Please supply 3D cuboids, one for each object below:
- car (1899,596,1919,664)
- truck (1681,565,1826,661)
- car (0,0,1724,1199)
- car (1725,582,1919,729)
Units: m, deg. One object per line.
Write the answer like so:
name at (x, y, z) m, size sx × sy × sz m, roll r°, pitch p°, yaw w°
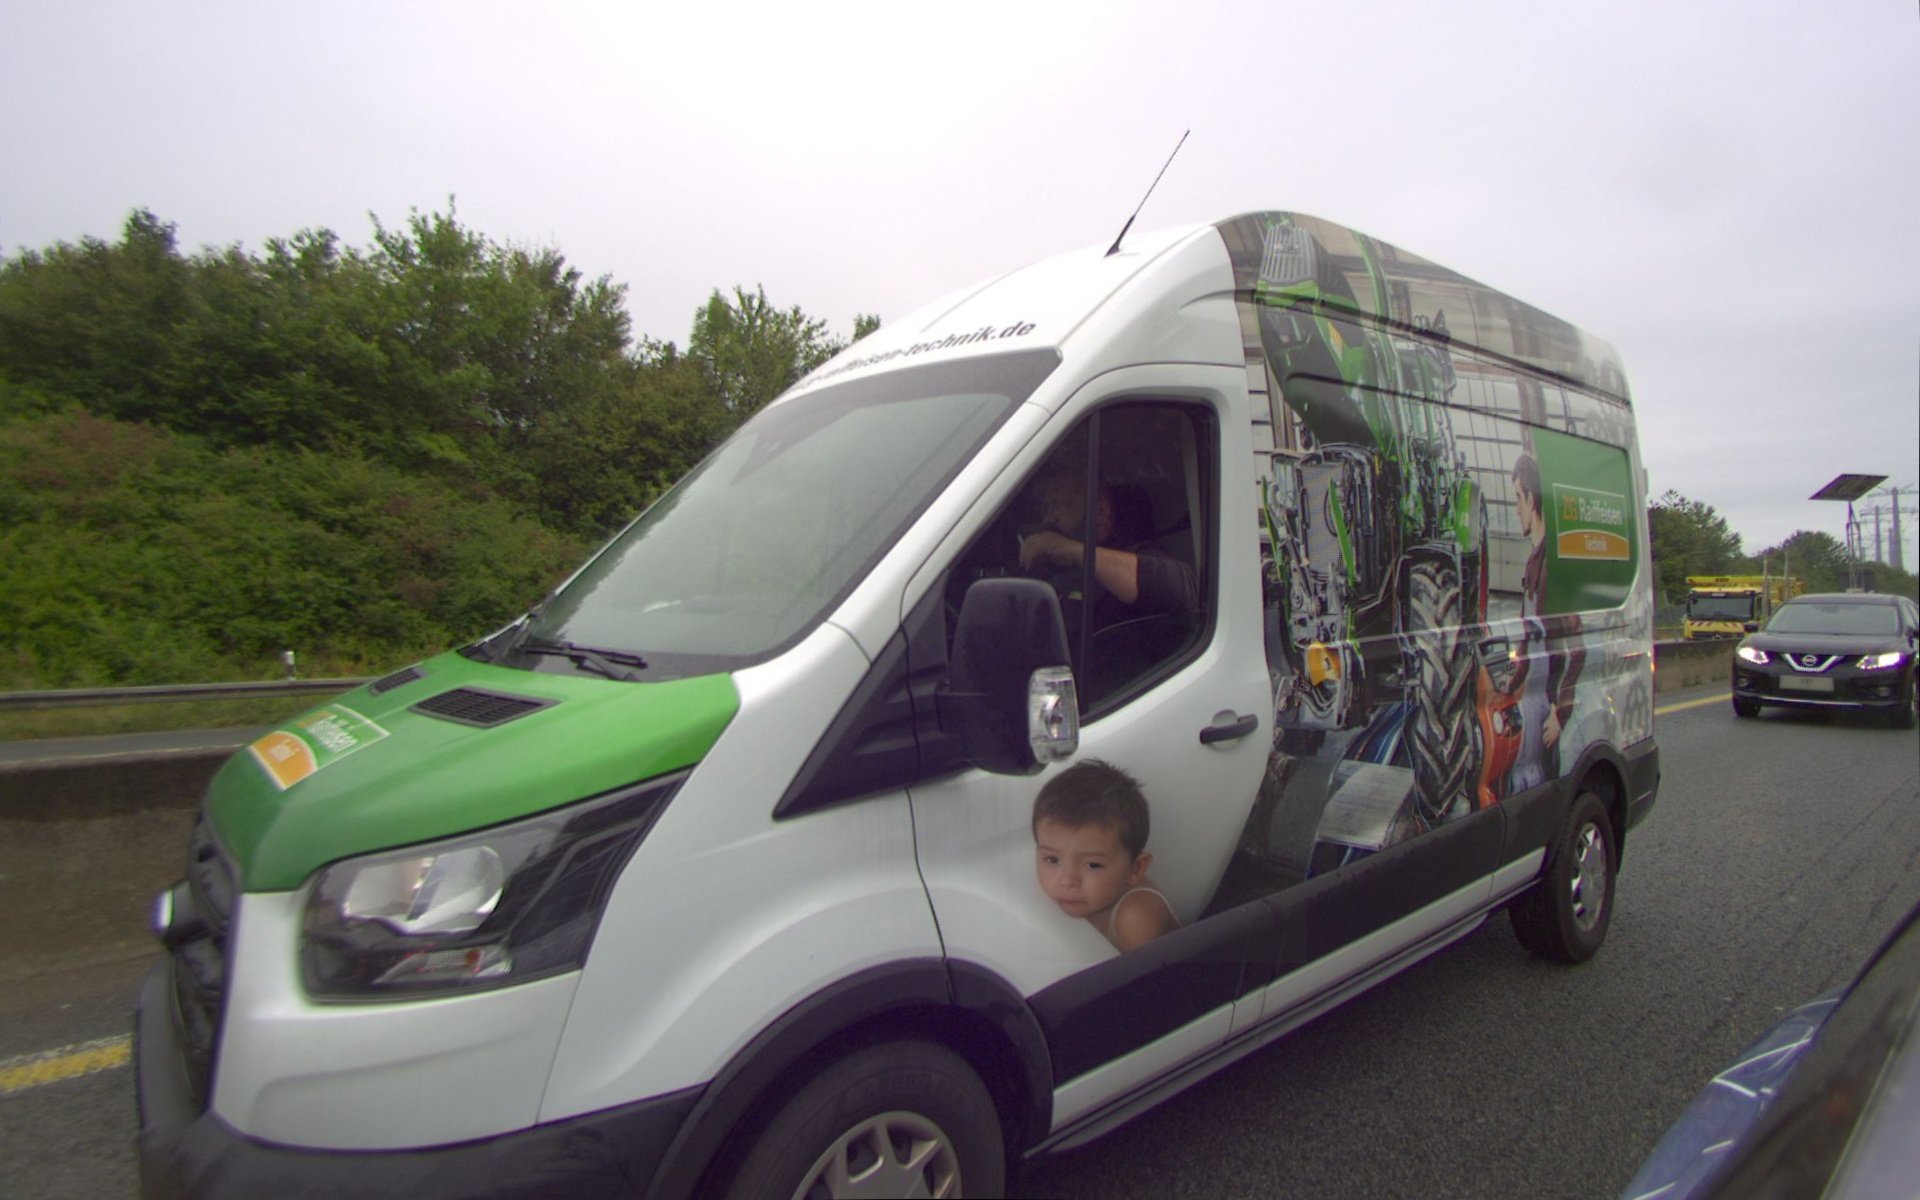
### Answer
car at (23.338, 0.667, 23.568) m, size 4.052 × 1.509 × 1.782 m, roll 0°, pitch 0°, yaw -42°
truck at (31.931, 0.428, 40.529) m, size 9.404 × 3.467 × 2.618 m, roll 0°, pitch 0°, yaw -39°
car at (0.691, 0.008, 3.724) m, size 6.009 × 2.709 × 2.148 m, roll 0°, pitch 0°, yaw -40°
car at (12.224, 0.621, 13.896) m, size 4.561 × 1.696 × 1.892 m, roll 0°, pitch 0°, yaw -42°
